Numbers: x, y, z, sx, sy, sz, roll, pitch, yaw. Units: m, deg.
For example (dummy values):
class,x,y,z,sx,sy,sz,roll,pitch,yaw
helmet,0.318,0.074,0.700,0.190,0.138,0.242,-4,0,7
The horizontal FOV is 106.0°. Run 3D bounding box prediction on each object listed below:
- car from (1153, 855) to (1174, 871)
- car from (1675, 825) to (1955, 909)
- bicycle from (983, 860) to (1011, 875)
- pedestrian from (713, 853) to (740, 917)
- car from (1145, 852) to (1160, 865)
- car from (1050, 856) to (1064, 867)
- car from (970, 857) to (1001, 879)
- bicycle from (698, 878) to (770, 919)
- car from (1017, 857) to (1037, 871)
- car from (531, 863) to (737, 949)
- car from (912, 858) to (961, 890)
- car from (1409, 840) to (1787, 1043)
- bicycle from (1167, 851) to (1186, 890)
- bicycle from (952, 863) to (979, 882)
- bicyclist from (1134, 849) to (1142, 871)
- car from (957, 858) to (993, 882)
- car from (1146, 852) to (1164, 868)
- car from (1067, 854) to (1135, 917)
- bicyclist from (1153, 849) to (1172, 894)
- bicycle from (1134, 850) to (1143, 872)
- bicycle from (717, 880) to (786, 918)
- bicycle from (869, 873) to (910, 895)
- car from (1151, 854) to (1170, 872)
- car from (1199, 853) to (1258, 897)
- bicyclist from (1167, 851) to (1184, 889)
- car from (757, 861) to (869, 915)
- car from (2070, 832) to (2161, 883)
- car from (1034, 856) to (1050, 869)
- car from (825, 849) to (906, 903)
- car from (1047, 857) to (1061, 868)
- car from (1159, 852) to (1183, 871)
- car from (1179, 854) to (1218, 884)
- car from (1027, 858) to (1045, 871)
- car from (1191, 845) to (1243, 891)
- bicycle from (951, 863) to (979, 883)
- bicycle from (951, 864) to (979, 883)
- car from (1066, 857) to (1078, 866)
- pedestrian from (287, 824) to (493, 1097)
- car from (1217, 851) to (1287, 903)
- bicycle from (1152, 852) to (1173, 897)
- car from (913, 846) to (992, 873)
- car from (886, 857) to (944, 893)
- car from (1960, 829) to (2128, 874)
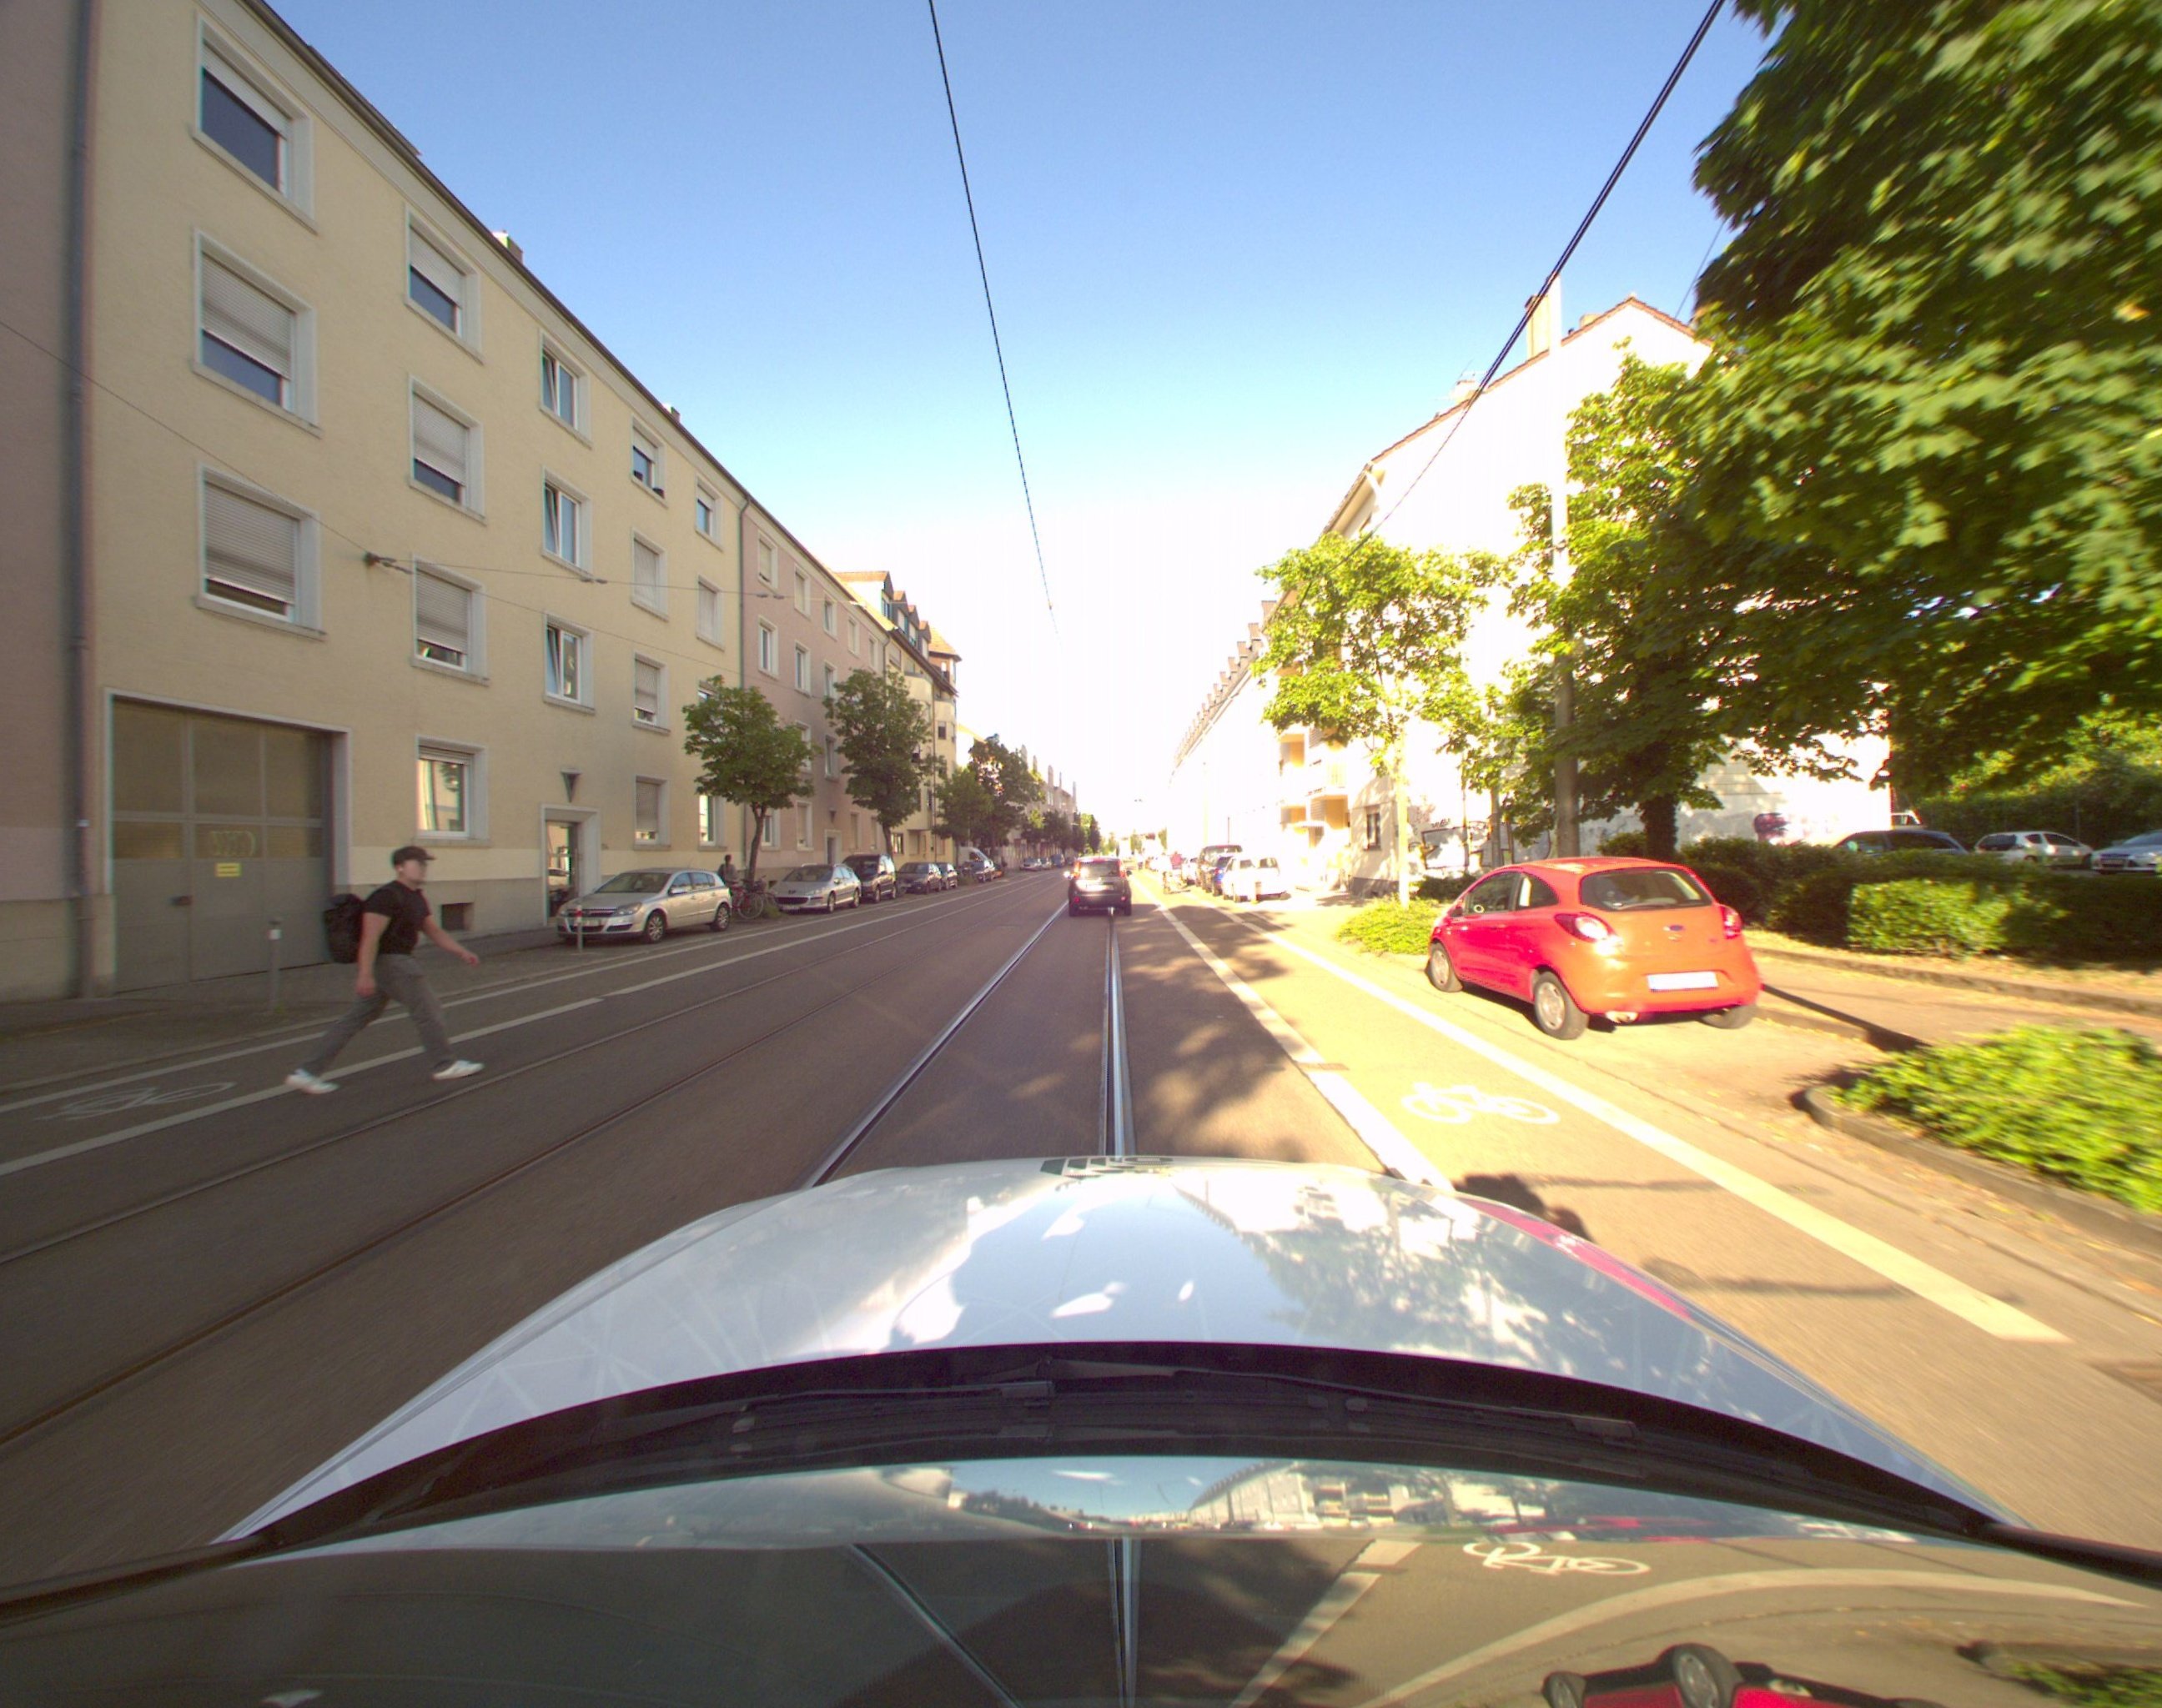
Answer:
class,x,y,z,sx,sy,sz,roll,pitch,yaw
car,7.229,0.790,71.330,1.577,1.405,3.377,0,0,1
car,15.030,0.260,16.850,4.136,1.624,1.893,0,0,-1
bicycle,-7.092,1.122,68.623,2.270,1.288,0.757,0,0,-3
pedestrian,-10.261,0.875,23.570,0.534,1.826,0.543,0,0,1
car,9.038,0.520,103.220,1.577,1.599,3.377,0,0,1
car,-3.413,1.105,117.122,1.700,1.497,3.724,0,0,3
car,-7.004,0.976,59.872,1.828,1.556,3.377,0,0,1
bicycle,-8.950,1.140,21.005,1.658,1.001,0.477,0,0,4
car,-5.843,1.030,88.882,1.700,1.497,3.724,0,0,3
car,-8.912,0.948,16.717,1.802,1.508,4.193,0,0,2
car,-7.727,1.031,43.873,1.802,1.619,4.066,0,0,2
car,4.775,0.698,8.149,1.629,1.508,3.398,-3,0,2
bicycle,4.391,0.735,37.662,0.672,1.747,2.158,0,0,1
bicycle,-7.374,1.194,52.045,1.724,1.196,0.372,0,0,-2
bicyclist,5.205,0.567,74.204,0.712,2.014,0.832,0,0,1
car,-7.059,1.036,54.621,1.828,1.556,4.001,0,0,1
car,7.574,0.648,83.233,1.577,1.599,3.377,0,0,1
car,0.584,0.771,21.988,1.643,1.541,4.237,0,0,3
bicyclist,3.226,0.699,32.449,0.696,1.759,0.758,0,0,1
bicycle,5.219,0.620,74.029,0.739,2.014,2.812,0,0,1
bicycle,-8.913,1.215,22.075,1.666,1.001,0.475,0,0,-10
bicycle,-8.190,1.290,34.832,1.627,0.937,0.516,0,0,-2
car,7.341,0.829,75.529,1.577,1.599,3.377,0,0,1
car,5.572,0.770,31.106,1.649,1.571,3.877,0,0,2
bicyclist,4.363,0.741,37.603,0.696,1.759,0.758,0,0,1
car,-8.240,0.985,25.546,1.801,1.508,4.683,0,0,2
car,33.461,0.061,24.982,3.974,1.486,1.894,-2,0,0
car,-4.889,1.060,103.182,1.700,1.497,3.724,0,0,3
car,-8.182,0.781,31.267,1.802,1.943,4.336,0,0,2
car,-3.681,1.170,111.529,1.700,1.497,3.724,0,0,3
car,6.904,0.567,62.886,1.577,1.405,3.377,0,0,1
car,5.963,0.742,41.650,1.649,1.500,3.131,0,0,1
car,-5.423,1.263,98.359,1.700,1.497,3.724,0,0,3
car,5.981,0.595,36.295,1.649,1.944,4.666,0,0,2
bicycle,-7.310,1.191,51.233,1.724,1.196,0.372,0,0,-2
bicycle,-7.346,1.242,51.629,1.724,1.196,0.372,0,0,-2
car,-1.503,1.163,132.971,1.700,1.497,3.724,0,0,3
pedestrian,-4.900,0.699,5.847,0.852,1.776,0.731,-2,0,-18
car,5.503,0.711,26.540,1.649,1.571,3.500,0,0,1
bicycle,3.258,0.793,32.516,0.672,1.747,2.158,0,0,1
car,-11.845,0.504,75.441,6.863,2.403,2.180,0,0,7
car,-7.779,0.958,38.522,1.802,1.619,4.066,0,0,2
car,35.588,-0.097,30.171,3.974,1.486,1.894,-2,0,0
